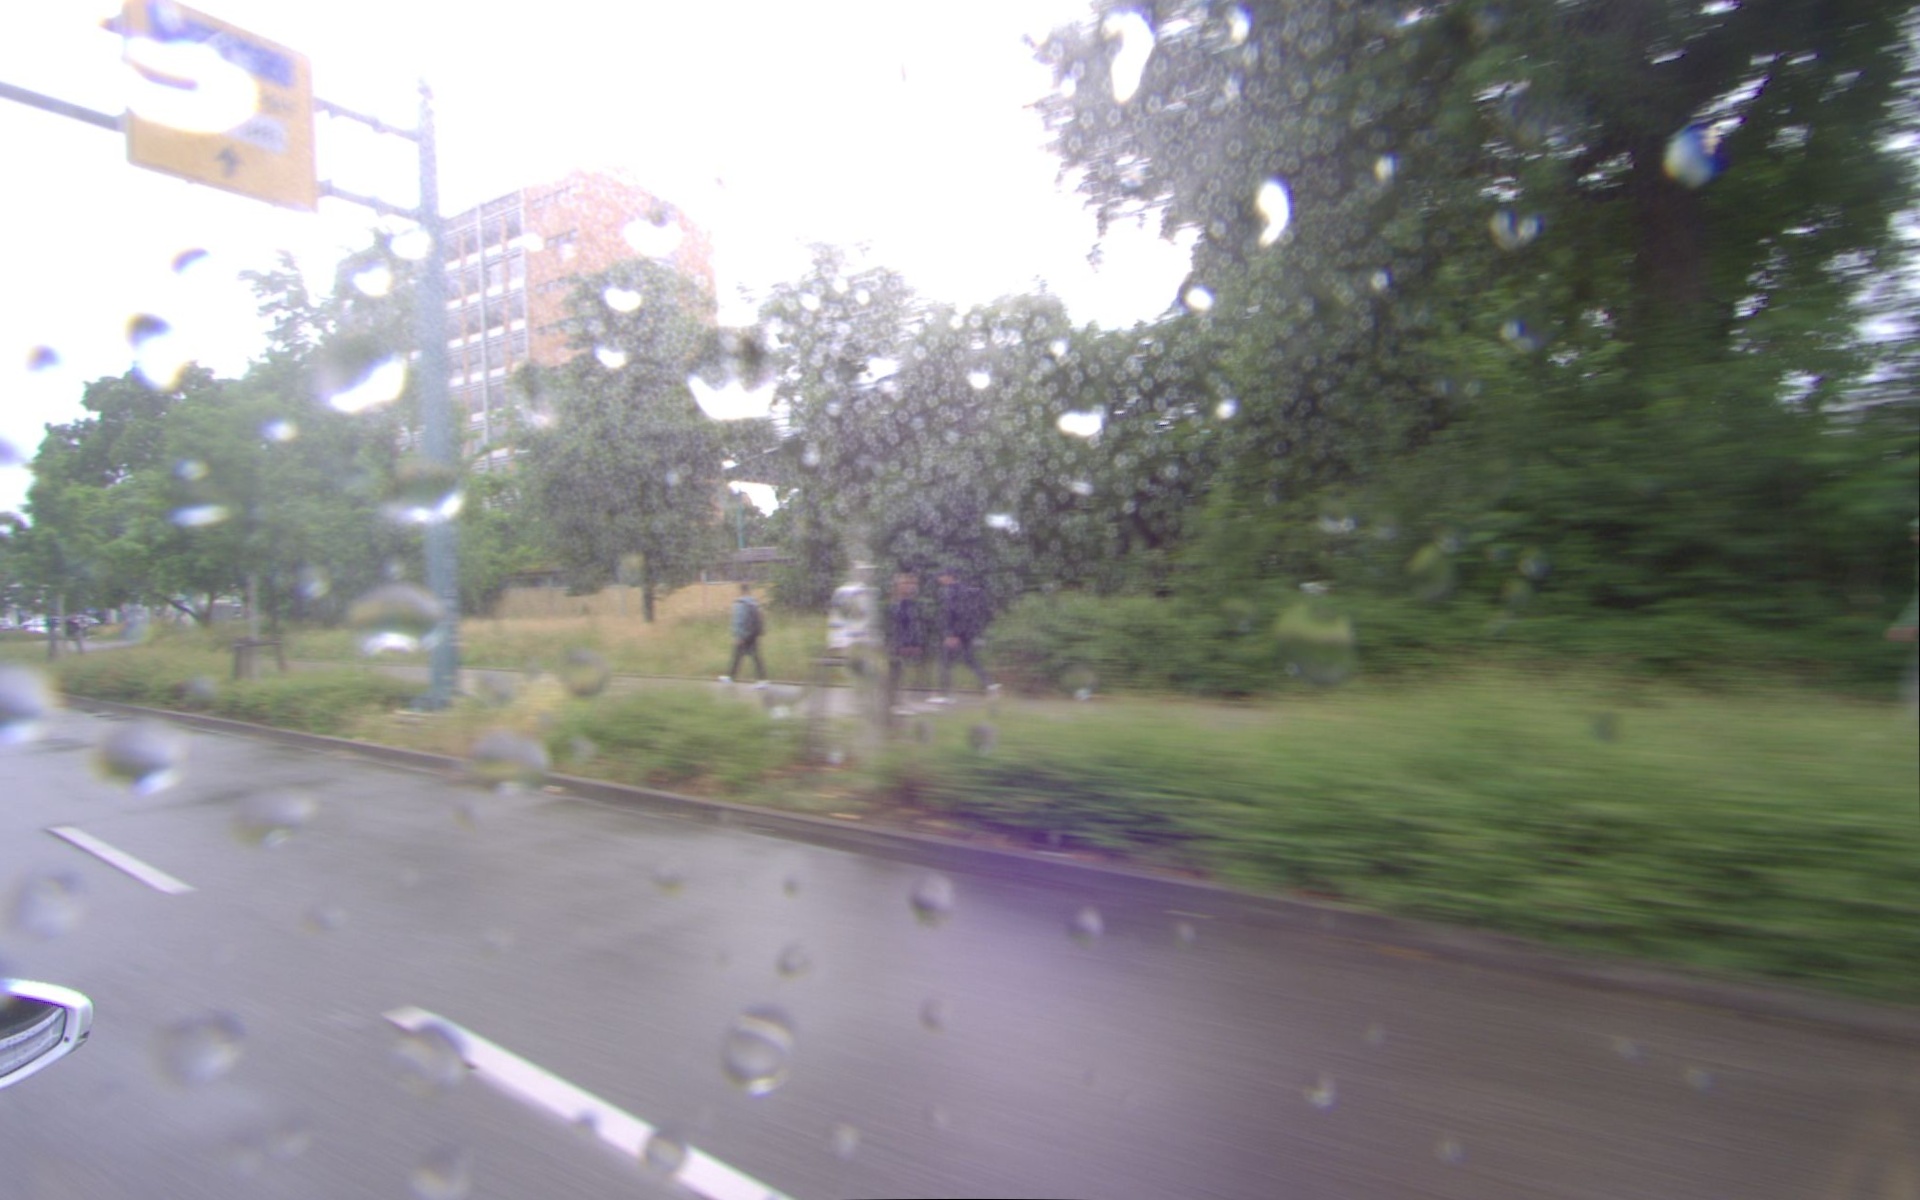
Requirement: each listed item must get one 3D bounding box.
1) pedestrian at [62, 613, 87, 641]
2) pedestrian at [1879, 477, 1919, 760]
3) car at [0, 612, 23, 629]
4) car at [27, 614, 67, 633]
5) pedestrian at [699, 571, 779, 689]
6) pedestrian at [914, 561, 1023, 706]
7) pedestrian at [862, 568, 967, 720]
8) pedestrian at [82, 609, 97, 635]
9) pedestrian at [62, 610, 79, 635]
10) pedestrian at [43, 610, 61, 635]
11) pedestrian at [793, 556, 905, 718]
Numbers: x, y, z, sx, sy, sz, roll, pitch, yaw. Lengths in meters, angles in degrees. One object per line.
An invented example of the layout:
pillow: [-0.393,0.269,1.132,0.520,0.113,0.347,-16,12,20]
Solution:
pedestrian: [-52.935,1.596,59.881,1.014,1.609,0.929,-1,1,-39]
pedestrian: [7.336,0.129,7.372,0.820,2.041,0.786,0,2,43]
car: [-93.339,2.010,97.685,1.768,1.665,4.140,-1,0,-28]
car: [-85.615,2.153,93.950,1.768,1.665,4.140,-1,0,-28]
pedestrian: [-3.548,0.461,16.095,0.820,1.821,0.928,0,2,43]
pedestrian: [0.107,0.401,12.912,1.034,1.771,0.928,0,2,43]
pedestrian: [-0.547,0.499,12.102,0.819,1.727,0.928,4,2,41]
pedestrian: [-55.958,1.399,64.373,0.697,1.609,0.929,-2,1,-39]
pedestrian: [-56.701,1.418,63.844,0.697,1.609,0.929,-2,1,-39]
pedestrian: [-57.542,1.421,63.486,0.747,1.609,0.929,-2,1,-39]
pedestrian: [-1.264,0.396,11.447,0.819,1.744,0.928,4,2,41]
